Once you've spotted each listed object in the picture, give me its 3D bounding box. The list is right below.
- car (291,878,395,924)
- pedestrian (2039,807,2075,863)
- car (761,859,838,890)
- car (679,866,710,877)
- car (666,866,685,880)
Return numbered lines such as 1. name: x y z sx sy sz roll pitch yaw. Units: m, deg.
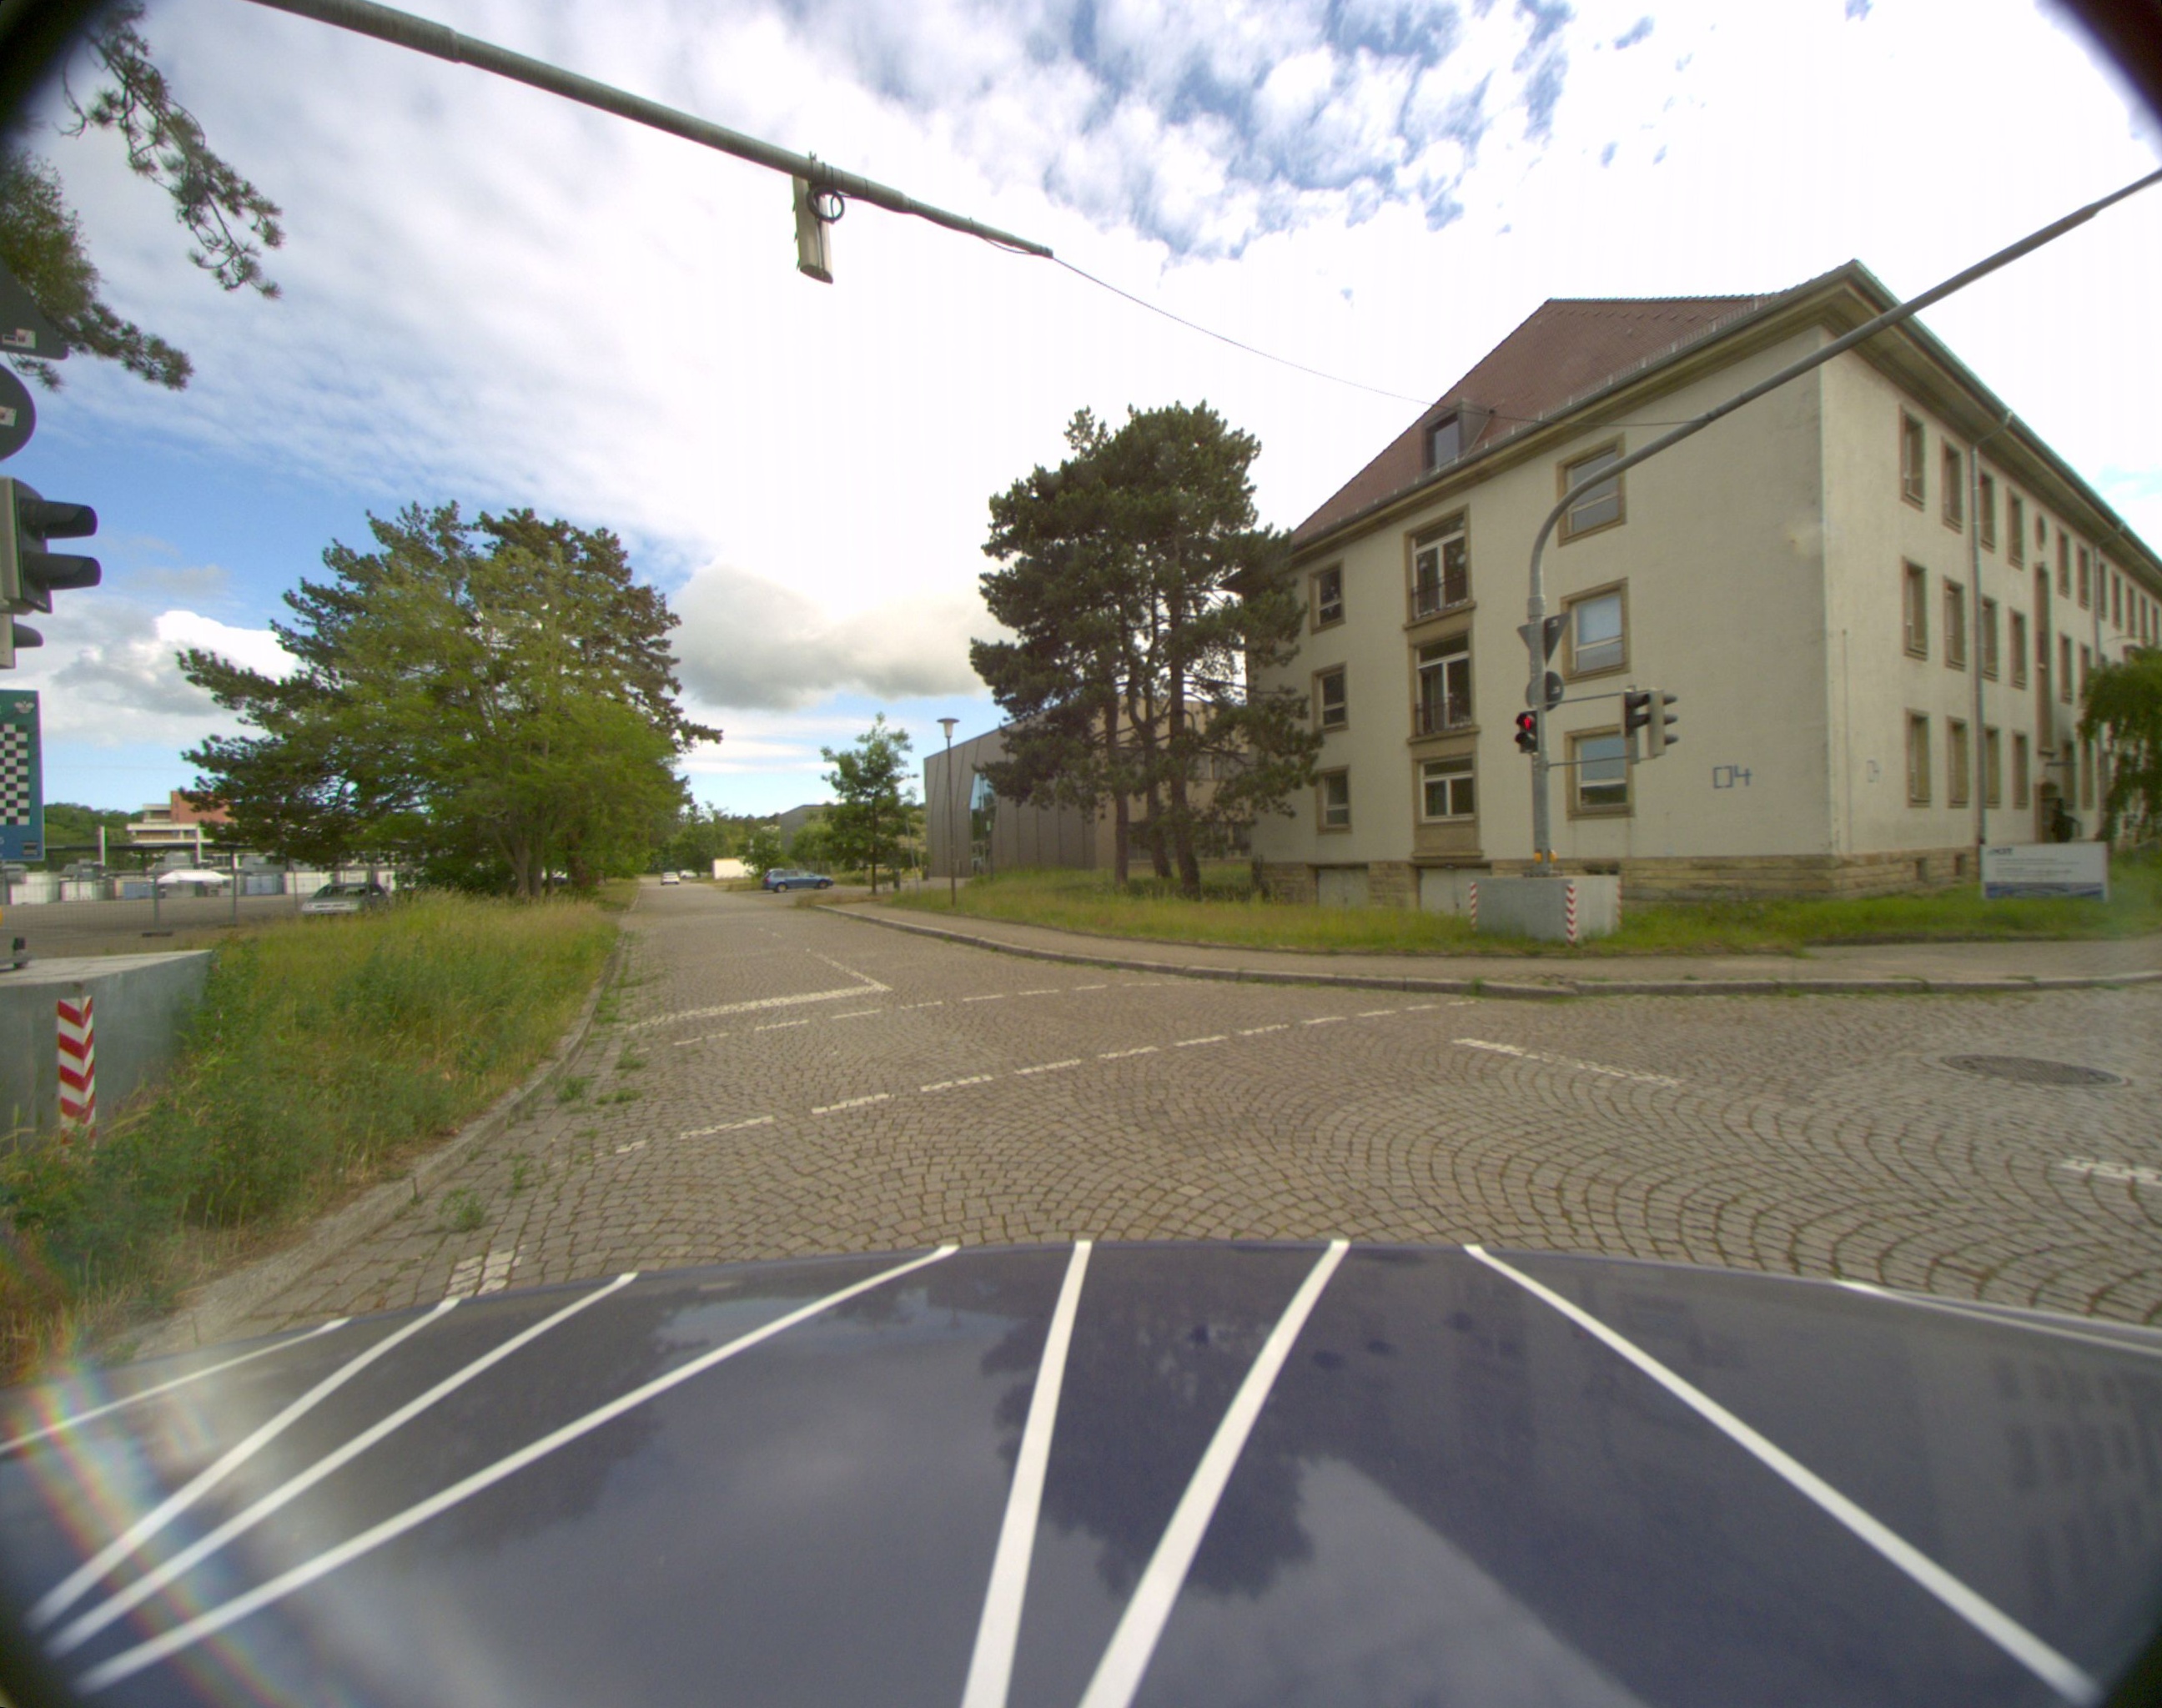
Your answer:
1. car: -27.731 1.724 28.701 1.976 1.474 3.990 -2 0 -32
2. pedestrian: 29.752 -0.569 23.173 0.533 1.691 0.568 -2 1 -26
3. car: -18.725 1.348 50.644 4.483 1.820 1.995 -2 0 -31
4. car: -66.338 2.992 130.476 4.483 1.820 1.995 -2 0 -31
5. car: -47.236 2.249 88.518 1.889 1.516 3.991 -2 0 -29
